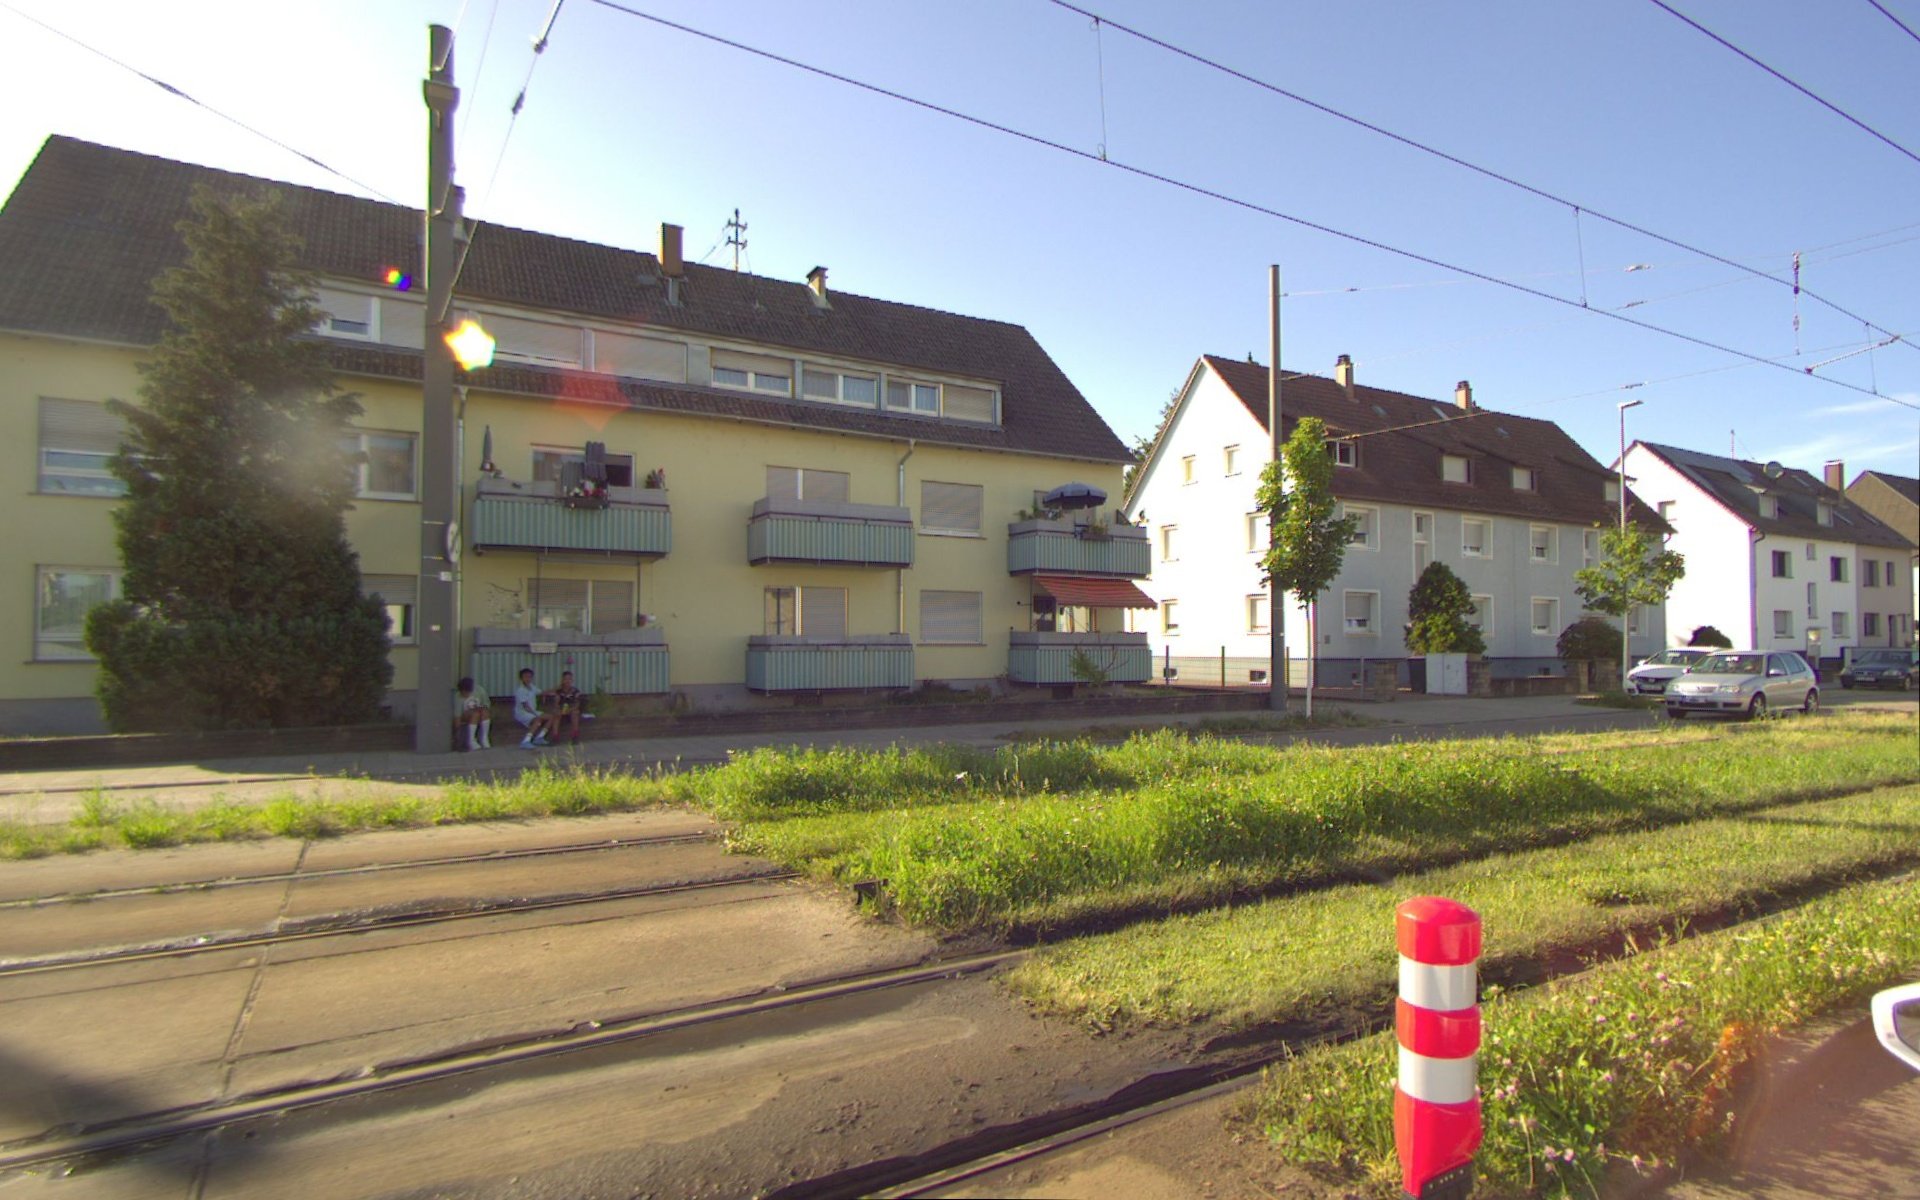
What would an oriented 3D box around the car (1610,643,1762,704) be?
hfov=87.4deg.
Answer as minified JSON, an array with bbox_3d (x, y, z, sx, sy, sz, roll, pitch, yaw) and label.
[{"bbox_3d":[19.570,1.935,27.051,4.162,1.537,1.686,1,-3,-29],"label":"car"}]

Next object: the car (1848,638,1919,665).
[{"bbox_3d":[59.196,3.231,63.547,1.832,1.676,4.146,1,-3,-25],"label":"car"}]

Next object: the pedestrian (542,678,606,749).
[{"bbox_3d":[-5.873,1.710,15.280,0.712,1.019,0.593,-1,-4,37],"label":"pedestrian"}]

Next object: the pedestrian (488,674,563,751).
[{"bbox_3d":[-6.444,1.645,14.906,0.805,1.078,0.626,0,-3,27],"label":"pedestrian"}]

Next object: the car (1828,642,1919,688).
[{"bbox_3d":[31.521,2.160,34.084,4.115,1.482,1.783,1,-3,-29],"label":"car"}]

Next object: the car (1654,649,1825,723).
[{"bbox_3d":[16.567,1.769,21.327,3.614,1.430,1.544,1,-3,-29],"label":"car"}]

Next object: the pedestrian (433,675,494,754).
[{"bbox_3d":[-7.113,1.622,14.390,0.680,1.060,0.813,2,-3,-32],"label":"pedestrian"}]
